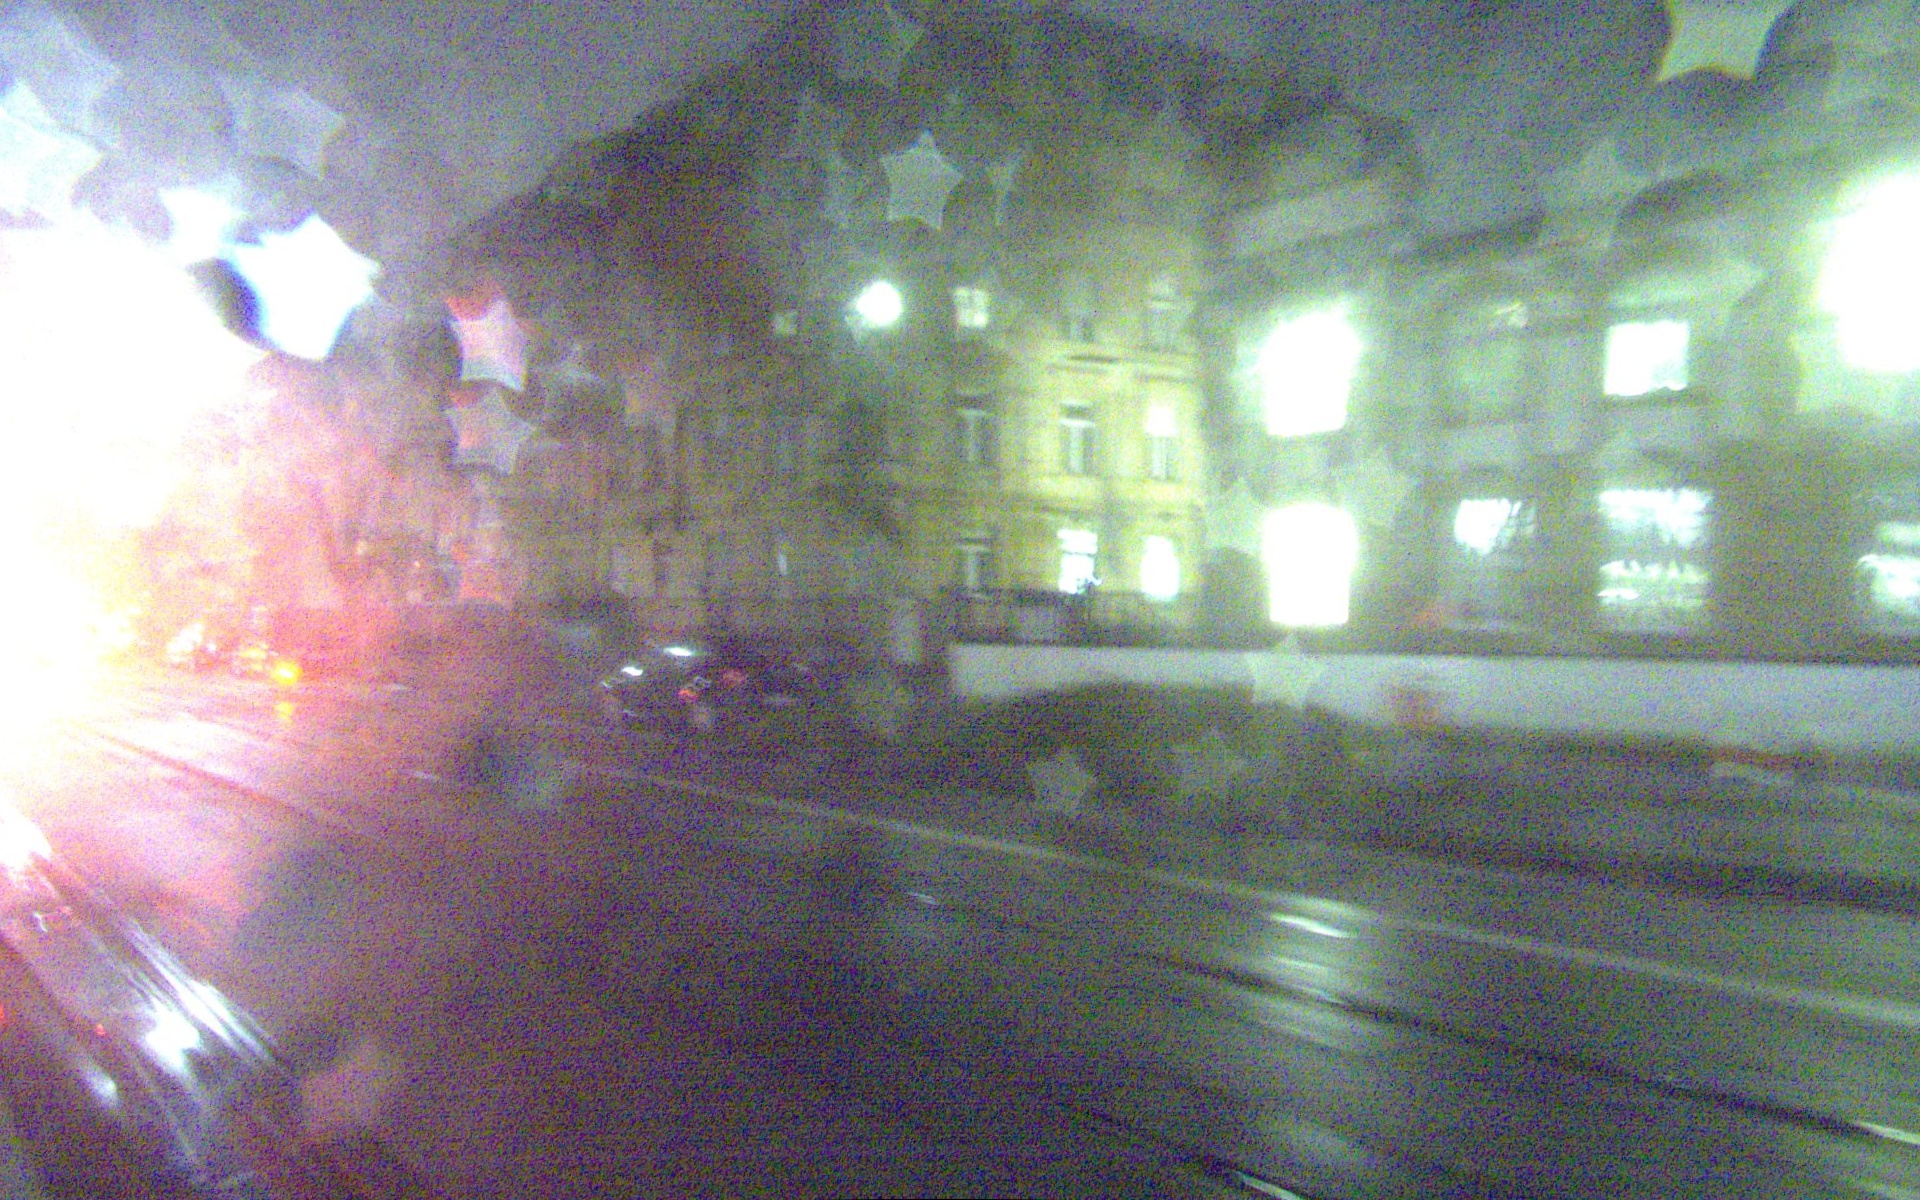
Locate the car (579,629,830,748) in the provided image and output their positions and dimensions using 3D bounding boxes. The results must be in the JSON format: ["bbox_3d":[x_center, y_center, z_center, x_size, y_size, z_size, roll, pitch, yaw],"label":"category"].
[{"bbox_3d":[-3.883,1.198,15.024,4.000,1.397,1.651,0,1,42],"label":"car"}]

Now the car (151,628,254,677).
[{"bbox_3d":[-24.799,1.663,33.089,4.137,1.417,1.748,-1,1,39],"label":"car"}]

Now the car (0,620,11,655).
[{"bbox_3d":[-54.478,2.067,56.513,4.537,1.883,1.874,-1,-3,44],"label":"car"}]

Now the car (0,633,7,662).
[{"bbox_3d":[-49.959,2.422,51.670,1.772,1.475,3.903,2,-3,-45],"label":"car"}]

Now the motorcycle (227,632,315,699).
[{"bbox_3d":[-14.132,1.334,20.734,1.998,1.239,0.809,1,-5,38],"label":"motorcycle"}]

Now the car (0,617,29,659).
[{"bbox_3d":[-45.062,1.778,47.454,1.903,1.894,4.641,4,-4,-44],"label":"car"}]

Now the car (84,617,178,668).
[{"bbox_3d":[-33.504,1.688,40.830,5.305,1.839,1.973,-2,0,40],"label":"car"}]

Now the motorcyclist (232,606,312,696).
[{"bbox_3d":[-14.103,1.040,20.750,1.134,1.753,0.909,1,-5,38],"label":"motorcyclist"}]

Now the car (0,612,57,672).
[{"bbox_3d":[-30.549,1.347,32.374,4.383,1.830,1.918,-2,-4,42],"label":"car"}]

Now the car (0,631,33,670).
[{"bbox_3d":[-38.285,1.991,40.364,4.206,1.490,1.633,-2,-4,44],"label":"car"}]
